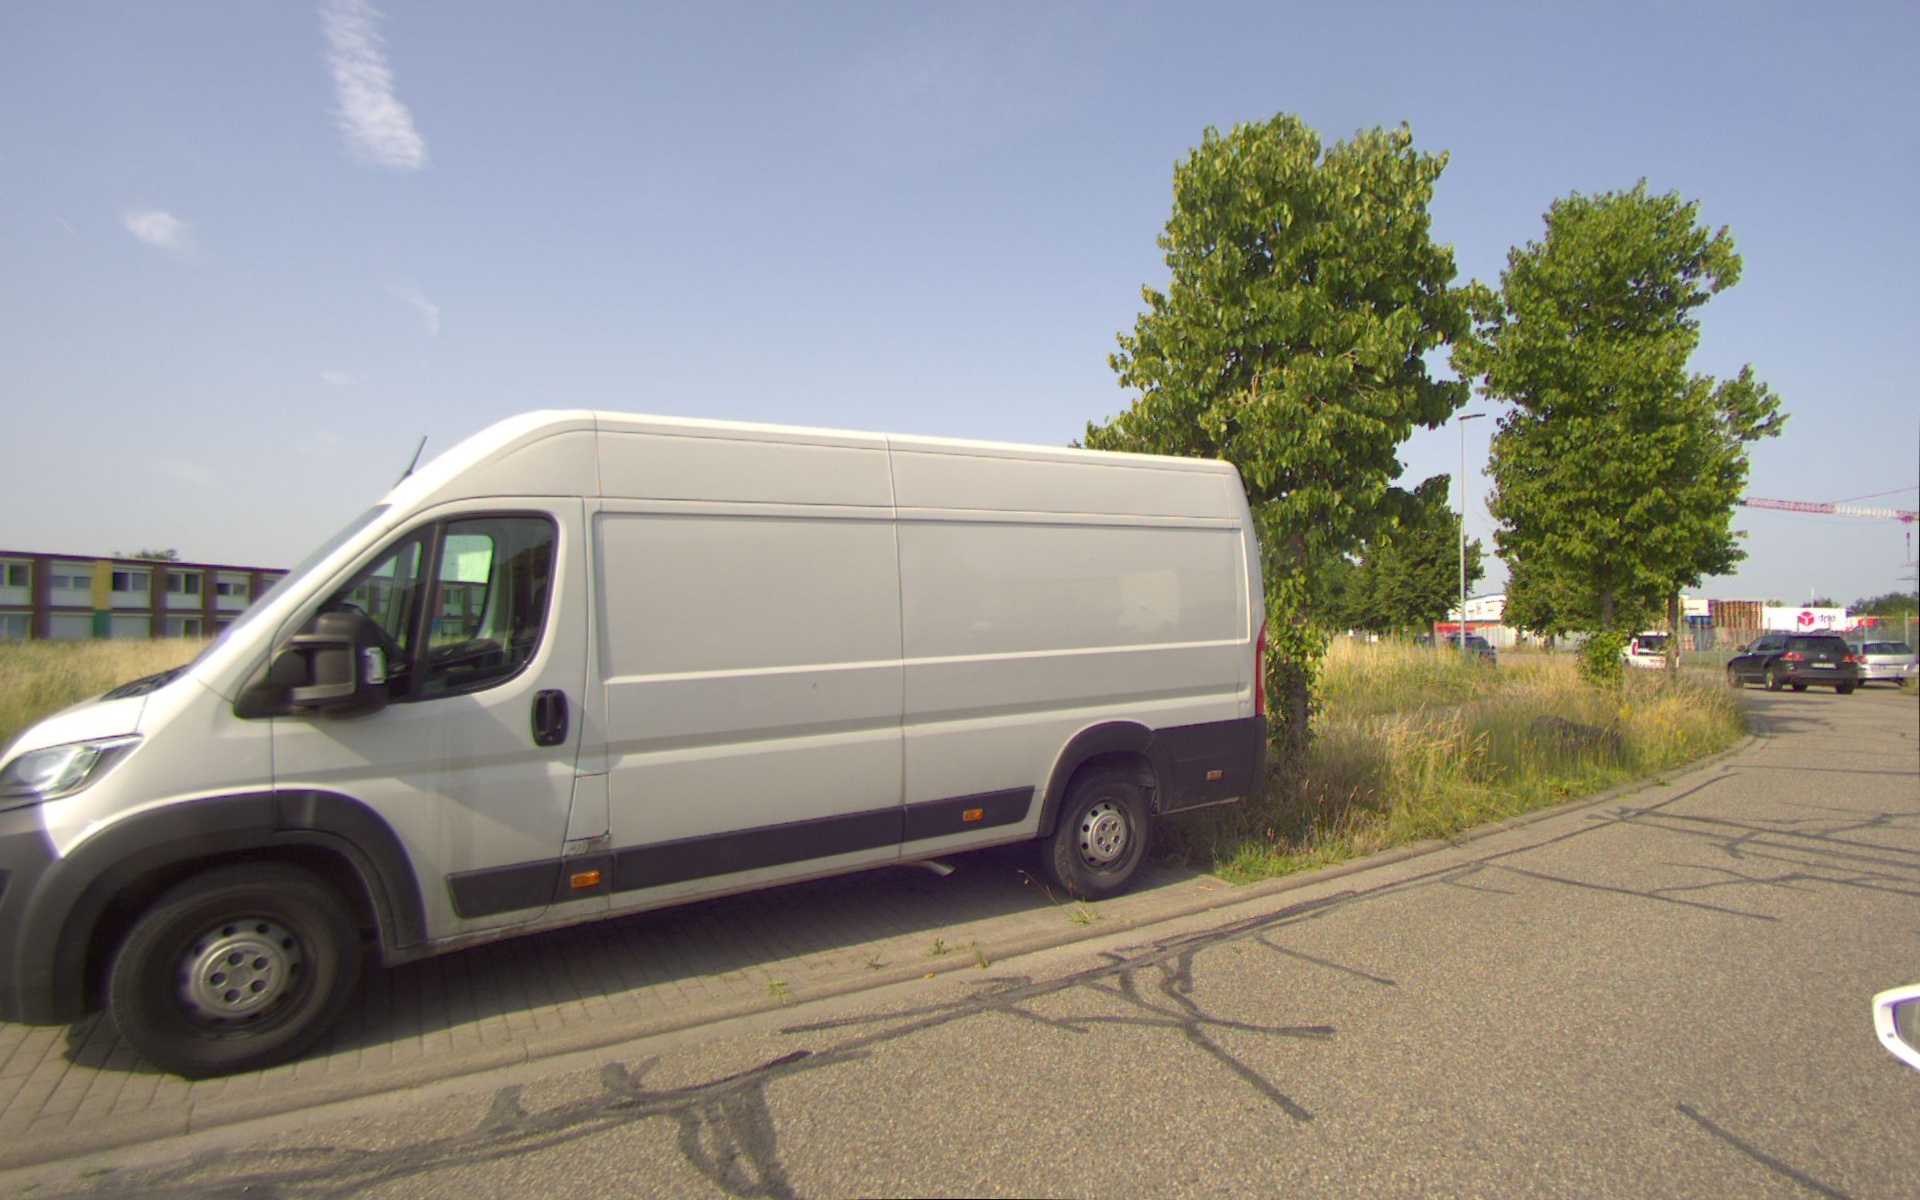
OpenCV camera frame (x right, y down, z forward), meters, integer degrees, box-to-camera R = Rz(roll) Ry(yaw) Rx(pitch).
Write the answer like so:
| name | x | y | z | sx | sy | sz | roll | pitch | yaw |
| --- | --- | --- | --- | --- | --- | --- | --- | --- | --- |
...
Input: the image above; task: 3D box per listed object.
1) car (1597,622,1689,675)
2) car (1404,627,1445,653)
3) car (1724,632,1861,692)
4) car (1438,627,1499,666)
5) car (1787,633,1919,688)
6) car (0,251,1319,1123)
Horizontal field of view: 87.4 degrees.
| name | x | y | z | sx | sy | sz | roll | pitch | yaw |
| --- | --- | --- | --- | --- | --- | --- | --- | --- | --- |
| car | 29.504 | 2.086 | 43.574 | 2.086 | 2.138 | 4.626 | 0 | -2 | 18 |
| car | 29.048 | 2.509 | 62.916 | 1.802 | 1.516 | 4.050 | 2 | -1 | 18 |
| car | 24.366 | 1.776 | 29.570 | 1.850 | 1.607 | 4.113 | 0 | -2 | 21 |
| car | 23.667 | 2.145 | 46.903 | 1.871 | 1.647 | 4.450 | 2 | -1 | 18 |
| car | 29.158 | 1.928 | 32.739 | 1.769 | 1.647 | 4.451 | -2 | -2 | 17 |
| car | -0.978 | 0.309 | 5.545 | 6.434 | 2.630 | 2.089 | 1 | 1 | -33 |
